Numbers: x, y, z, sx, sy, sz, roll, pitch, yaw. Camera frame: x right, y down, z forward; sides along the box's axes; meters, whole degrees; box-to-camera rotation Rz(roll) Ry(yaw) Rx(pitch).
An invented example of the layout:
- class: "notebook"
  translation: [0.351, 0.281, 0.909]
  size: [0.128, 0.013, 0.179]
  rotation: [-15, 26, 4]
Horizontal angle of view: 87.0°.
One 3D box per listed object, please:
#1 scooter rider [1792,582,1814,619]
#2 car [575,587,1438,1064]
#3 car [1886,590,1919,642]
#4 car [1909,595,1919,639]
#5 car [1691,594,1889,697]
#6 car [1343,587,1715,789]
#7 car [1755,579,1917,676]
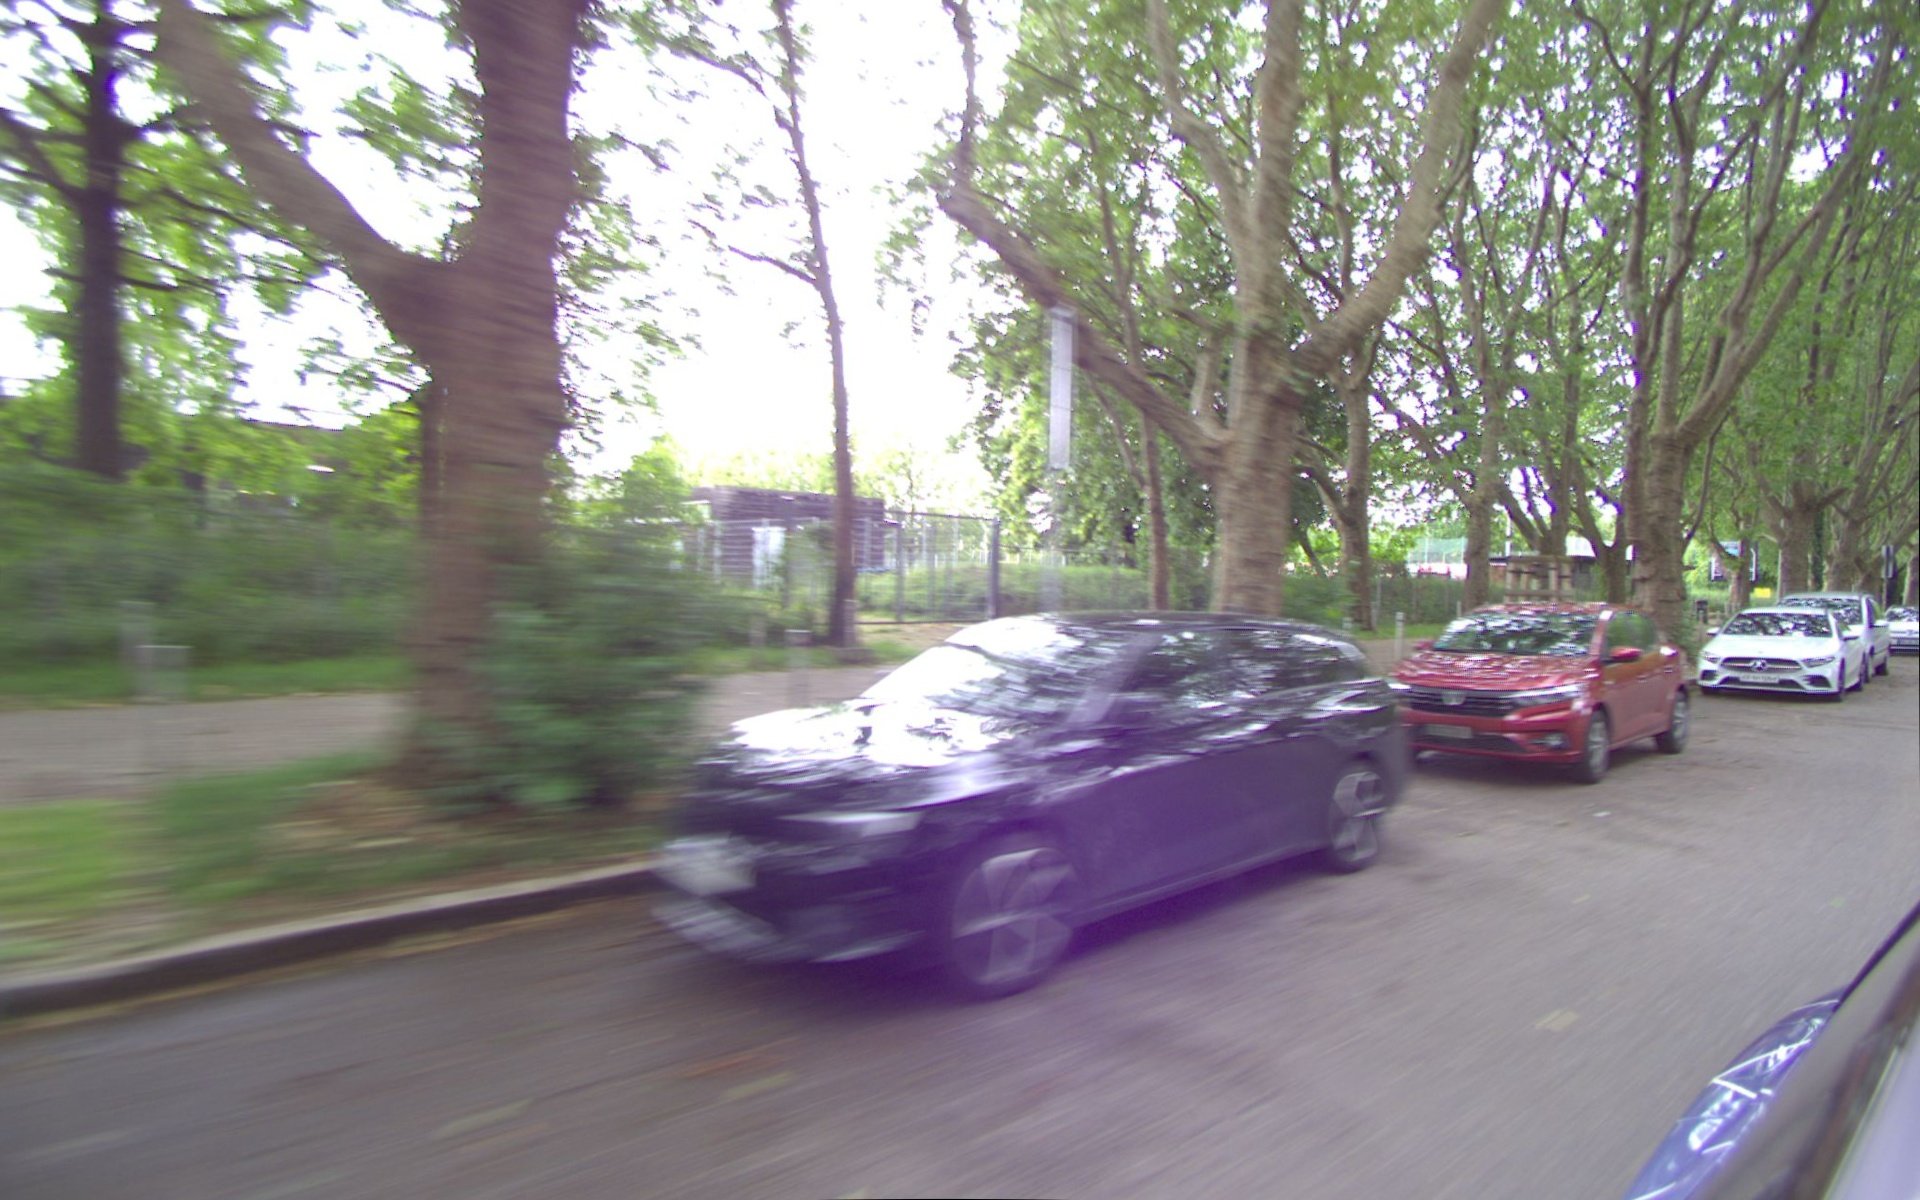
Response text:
- class: "scooter rider"
  translation: [42.723, 0.032, 51.313]
  size: [0.577, 1.822, 0.678]
  rotation: [1, 3, -41]
- class: "car"
  translation: [0.540, 0.686, 5.280]
  size: [4.400, 1.445, 1.881]
  rotation: [0, 1, -40]
- class: "car"
  translation: [28.413, 0.451, 29.474]
  size: [3.821, 1.445, 1.710]
  rotation: [0, 0, -41]
- class: "car"
  translation: [33.402, 0.568, 34.171]
  size: [4.288, 1.433, 1.709]
  rotation: [0, 1, -43]
- class: "car"
  translation: [13.914, 0.653, 16.872]
  size: [4.507, 1.445, 1.880]
  rotation: [0, 1, -42]
- class: "car"
  translation: [5.583, 0.650, 9.723]
  size: [4.105, 1.500, 1.860]
  rotation: [0, 1, -41]
- class: "car"
  translation: [17.991, 0.489, 20.718]
  size: [4.428, 1.760, 1.906]
  rotation: [0, 1, -41]
